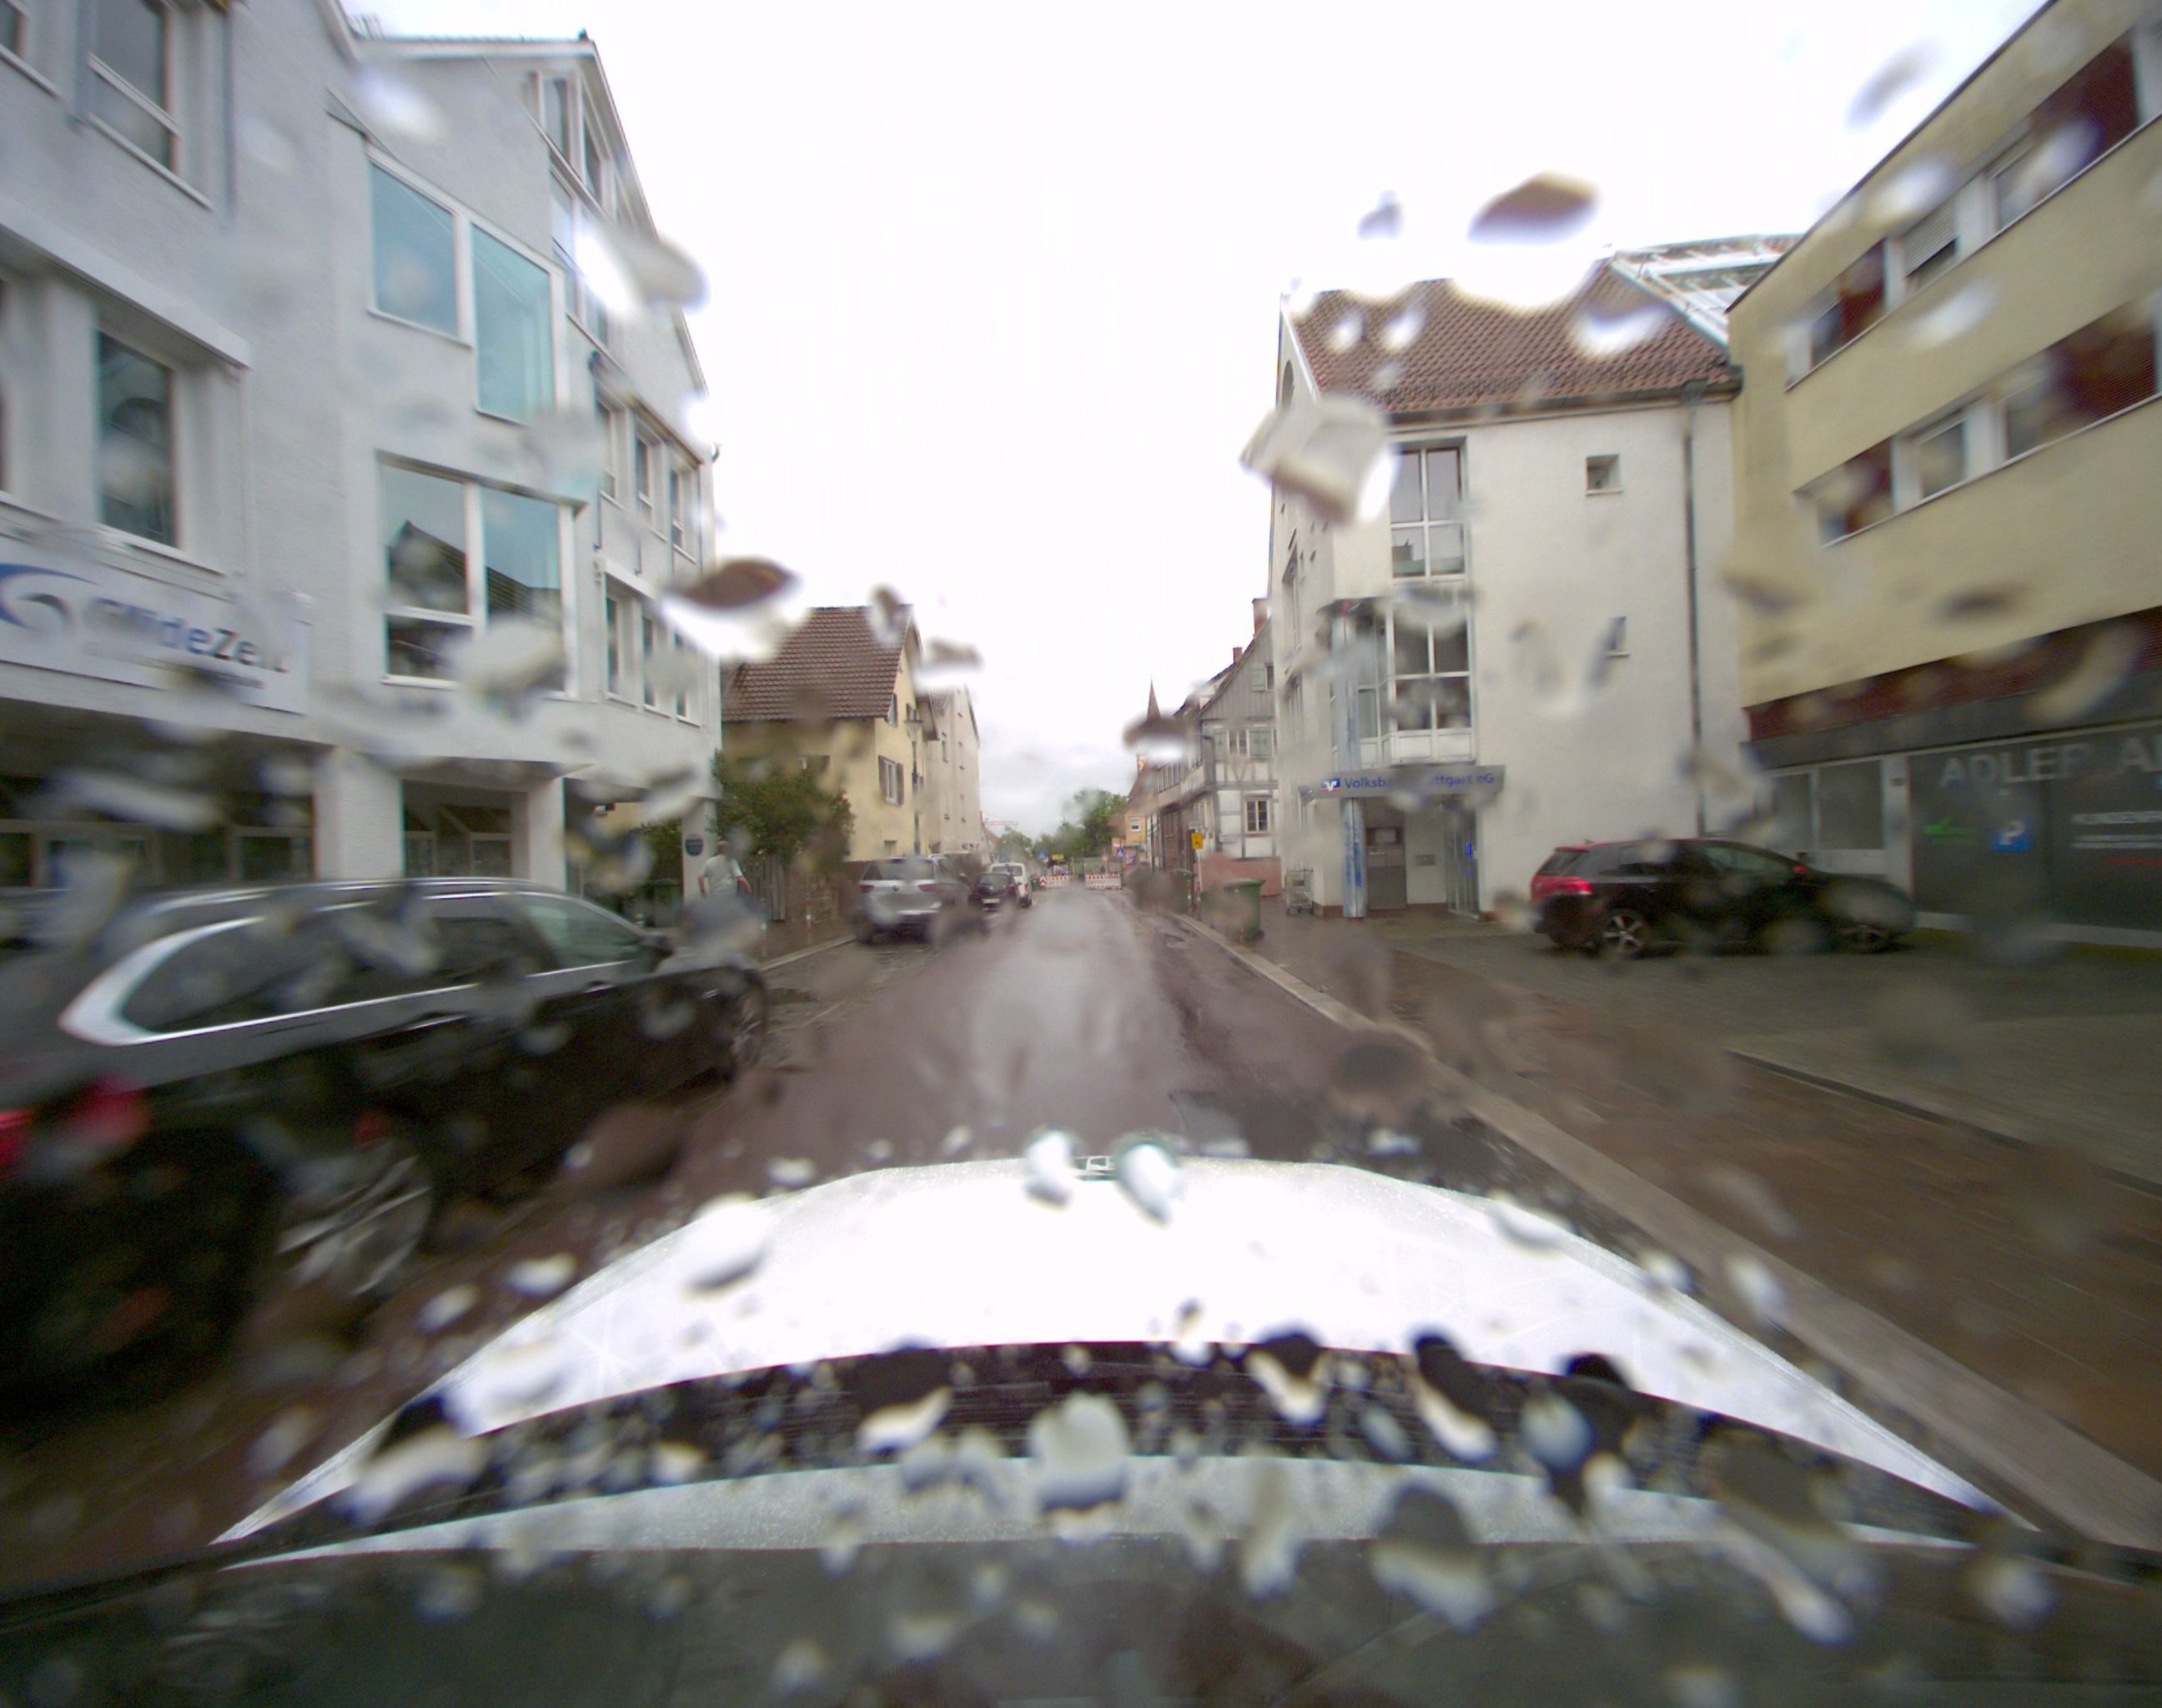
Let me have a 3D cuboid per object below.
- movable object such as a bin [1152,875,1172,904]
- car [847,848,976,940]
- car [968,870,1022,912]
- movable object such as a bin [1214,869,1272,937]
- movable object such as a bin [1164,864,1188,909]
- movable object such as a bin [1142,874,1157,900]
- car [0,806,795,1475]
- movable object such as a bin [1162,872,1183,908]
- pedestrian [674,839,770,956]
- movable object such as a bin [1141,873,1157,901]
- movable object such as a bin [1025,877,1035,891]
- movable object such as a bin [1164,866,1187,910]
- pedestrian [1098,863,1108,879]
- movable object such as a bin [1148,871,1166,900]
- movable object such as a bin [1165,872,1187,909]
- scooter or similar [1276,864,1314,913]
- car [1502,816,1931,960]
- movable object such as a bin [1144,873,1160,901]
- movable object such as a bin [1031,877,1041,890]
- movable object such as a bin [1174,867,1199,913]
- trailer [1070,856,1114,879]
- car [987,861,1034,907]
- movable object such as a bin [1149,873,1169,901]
[{"bbox_3d":[3.122,1.361,31.471,0.676,1.096,0.649,-1,-2,-3],"label":"movable object such as a bin"},{"bbox_3d":[-3.303,0.775,16.710,1.775,1.569,4.405,-2,-2,-1],"label":"car"},{"bbox_3d":[-3.085,1.323,29.842,1.677,1.389,3.821,-2,-2,-3],"label":"car"},{"bbox_3d":[2.833,0.856,14.356,0.801,1.131,0.862,-2,-2,-1],"label":"movable object such as a bin"},{"bbox_3d":[2.796,0.952,24.076,0.635,1.290,0.633,-2,-2,5],"label":"movable object such as a bin"},{"bbox_3d":[3.106,1.487,37.036,0.607,1.128,0.599,-2,-2,0],"label":"movable object such as a bin"},{"bbox_3d":[-3.284,0.683,4.071,1.823,1.498,4.765,-3,0,2],"label":"car"},{"bbox_3d":[2.936,1.152,26.196,0.613,1.131,0.633,-2,-2,5],"label":"movable object such as a bin"},{"bbox_3d":[-5.822,0.677,13.284,1.031,1.806,1.116,-1,0,0],"label":"pedestrian"},{"bbox_3d":[2.919,1.413,34.715,0.635,1.147,0.581,-2,-2,5],"label":"movable object such as a bin"},{"bbox_3d":[-4.177,2.451,66.326,0.535,1.037,0.576,-6,-4,33],"label":"movable object such as a bin"},{"bbox_3d":[2.866,1.026,24.777,0.635,1.290,0.633,-2,-2,5],"label":"movable object such as a bin"},{"bbox_3d":[2.441,1.889,90.400,0.989,1.759,0.850,-2,-2,-6],"label":"pedestrian"},{"bbox_3d":[3.108,1.285,33.326,0.636,1.147,0.631,-2,-2,-2],"label":"movable object such as a bin"},{"bbox_3d":[2.971,1.131,25.518,0.613,1.131,0.633,-2,-2,5],"label":"movable object such as a bin"},{"bbox_3d":[5.179,0.825,19.763,0.661,1.146,1.449,-2,-2,7],"label":"scooter or similar"},{"bbox_3d":[8.004,0.433,10.701,3.961,1.514,1.917,-4,0,11],"label":"car"},{"bbox_3d":[2.977,1.389,34.079,0.635,1.147,0.604,-2,-2,5],"label":"movable object such as a bin"},{"bbox_3d":[-3.657,2.393,65.951,0.538,1.033,0.538,-6,-4,33],"label":"movable object such as a bin"},{"bbox_3d":[3.020,1.020,23.294,0.635,1.290,0.633,-2,-2,5],"label":"movable object such as a bin"},{"bbox_3d":[1.510,1.844,113.111,5.772,2.948,1.996,-2,-2,-5],"label":"trailer"},{"bbox_3d":[-3.029,1.277,35.565,1.719,1.825,4.424,-2,-2,-2],"label":"car"},{"bbox_3d":[3.133,1.312,32.666,0.668,1.081,0.587,-3,-2,-2],"label":"movable object such as a bin"}]
